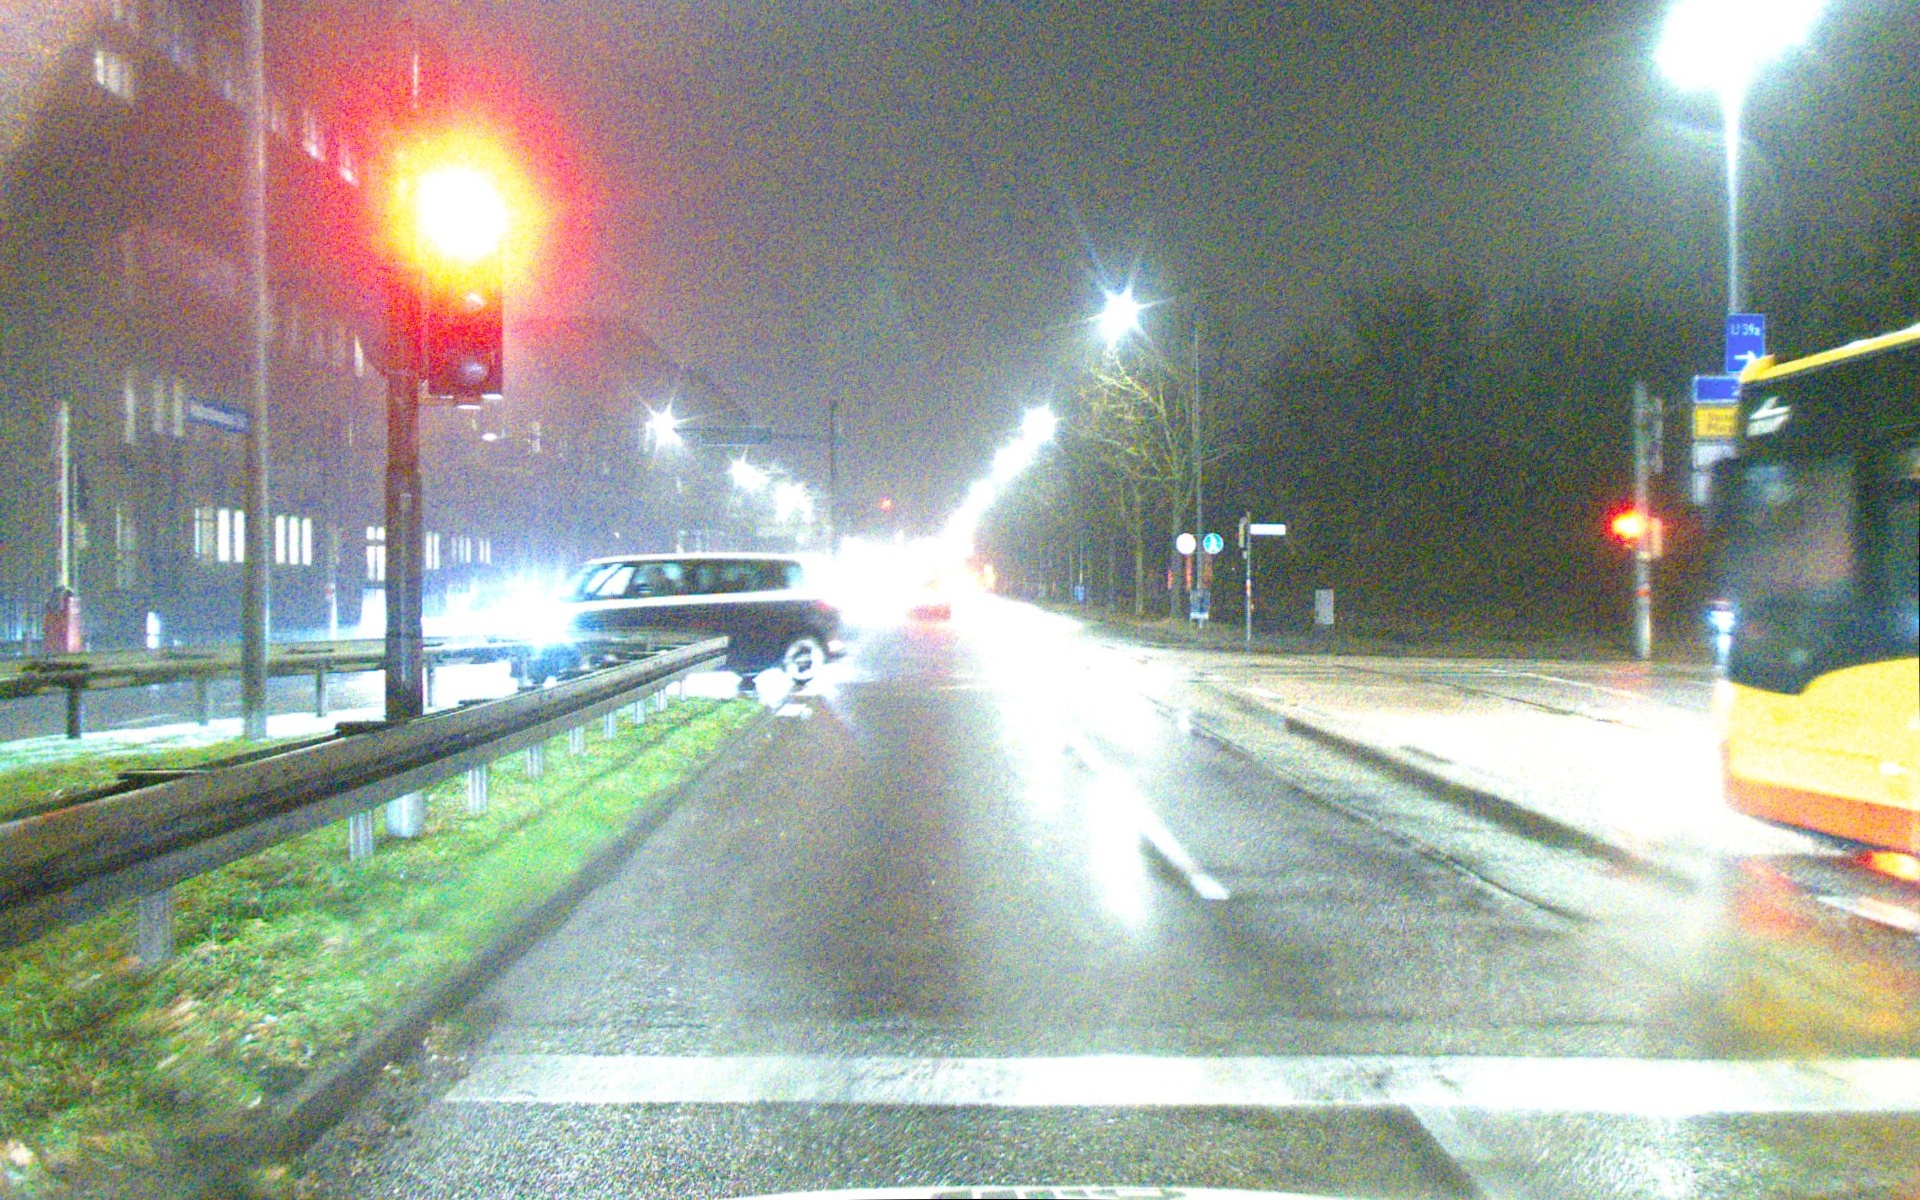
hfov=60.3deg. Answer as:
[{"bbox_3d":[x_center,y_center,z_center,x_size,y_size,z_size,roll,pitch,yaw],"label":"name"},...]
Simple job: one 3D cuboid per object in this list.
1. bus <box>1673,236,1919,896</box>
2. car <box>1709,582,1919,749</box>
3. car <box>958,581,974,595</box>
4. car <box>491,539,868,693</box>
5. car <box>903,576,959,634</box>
[{"bbox_3d":[6.051,-0.128,5.663,2.713,3.178,9.759,1,0,-2],"label":"bus"},{"bbox_3d":[9.372,0.598,17.781,1.720,1.455,3.747,2,3,35],"label":"car"},{"bbox_3d":[0.803,-1.547,216.402,1.953,1.790,3.999,1,0,-1],"label":"car"},{"bbox_3d":[-3.988,0.182,23.904,5.048,2.019,1.977,-1,0,-34],"label":"car"},{"bbox_3d":[-1.144,0.197,65.738,2.091,2.182,4.927,1,0,-1],"label":"car"}]
